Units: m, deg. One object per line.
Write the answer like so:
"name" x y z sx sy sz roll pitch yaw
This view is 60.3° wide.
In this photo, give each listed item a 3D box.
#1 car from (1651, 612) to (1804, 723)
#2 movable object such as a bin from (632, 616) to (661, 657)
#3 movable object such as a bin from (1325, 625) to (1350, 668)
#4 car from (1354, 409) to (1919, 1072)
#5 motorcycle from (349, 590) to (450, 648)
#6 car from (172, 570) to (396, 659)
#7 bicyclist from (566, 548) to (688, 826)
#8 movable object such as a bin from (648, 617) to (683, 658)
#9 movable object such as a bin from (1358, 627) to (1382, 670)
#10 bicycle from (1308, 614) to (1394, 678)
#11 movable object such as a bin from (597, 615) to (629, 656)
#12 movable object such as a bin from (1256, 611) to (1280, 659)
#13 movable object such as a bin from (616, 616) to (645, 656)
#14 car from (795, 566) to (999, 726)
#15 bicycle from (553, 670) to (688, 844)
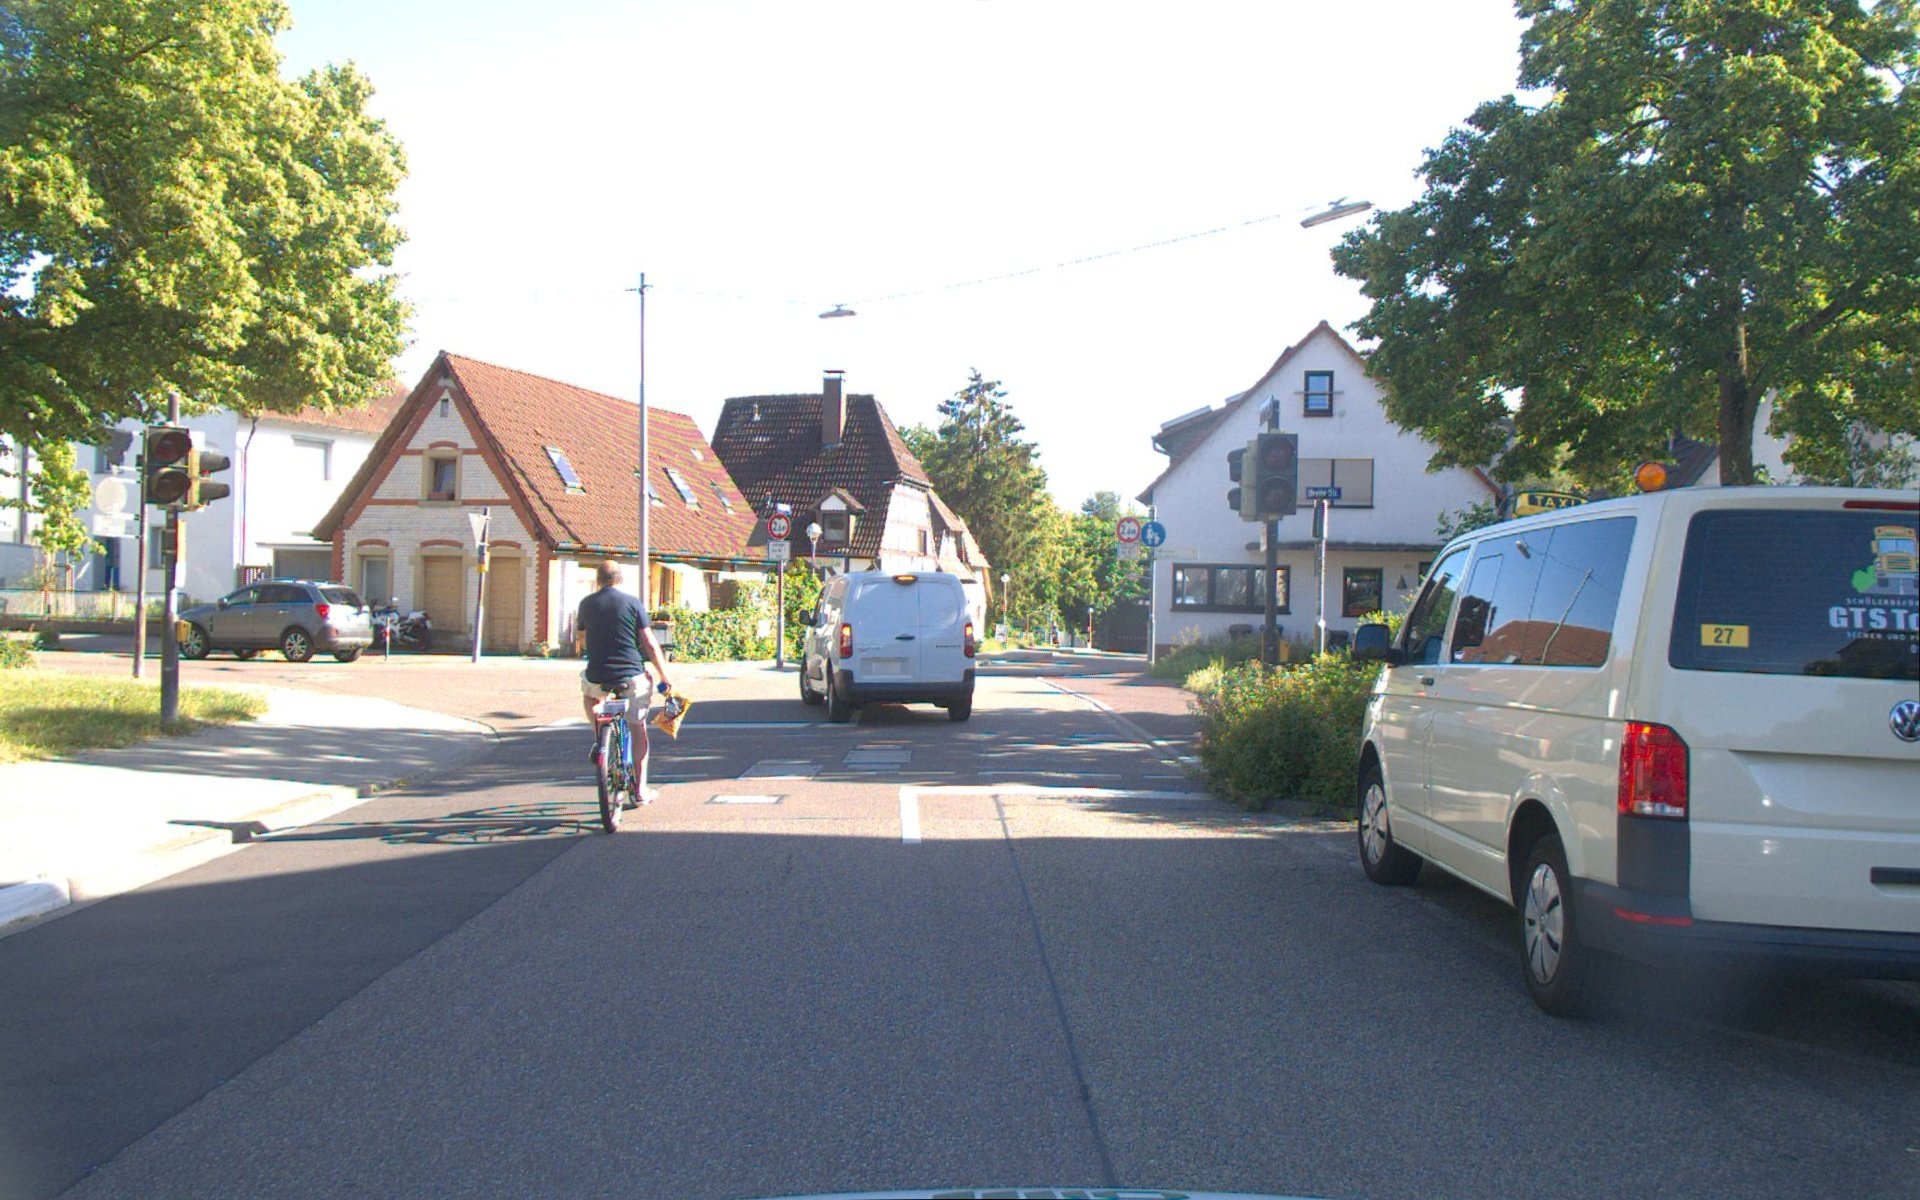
"car" 12.917 1.066 28.068 1.672 1.543 4.406 3 2 17
"movable object such as a bin" -7.397 0.864 39.031 0.402 0.941 0.626 1 0 17
"movable object such as a bin" 9.114 1.123 39.933 0.518 1.000 0.670 1 0 9
"car" 3.297 0.497 7.636 1.952 2.115 4.578 2 -1 2
"motorcycle" -13.388 0.439 39.522 2.195 1.317 0.883 1 2 18
"car" -14.705 0.314 36.033 4.131 1.755 1.947 2 -1 15
"bicyclist" -2.265 0.565 11.337 0.750 1.820 0.851 -1 0 -9
"movable object such as a bin" -6.924 0.876 38.884 0.544 0.941 0.626 1 0 17
"movable object such as a bin" 9.877 1.160 39.808 0.487 0.994 0.594 1 0 9
"bicycle" 8.339 0.978 35.352 1.700 1.306 0.701 2 -1 8
"movable object such as a bin" -8.245 0.836 39.325 0.497 0.941 0.626 1 0 17
"movable object such as a bin" 7.478 0.846 40.158 0.515 1.142 0.749 1 0 9
"movable object such as a bin" -7.801 0.854 39.156 0.403 0.921 0.626 1 1 17
"car" -0.955 0.513 21.868 1.923 1.880 4.546 1 1 -12
"bicycle" -2.276 1.015 11.323 0.760 0.956 2.286 1 0 -8
